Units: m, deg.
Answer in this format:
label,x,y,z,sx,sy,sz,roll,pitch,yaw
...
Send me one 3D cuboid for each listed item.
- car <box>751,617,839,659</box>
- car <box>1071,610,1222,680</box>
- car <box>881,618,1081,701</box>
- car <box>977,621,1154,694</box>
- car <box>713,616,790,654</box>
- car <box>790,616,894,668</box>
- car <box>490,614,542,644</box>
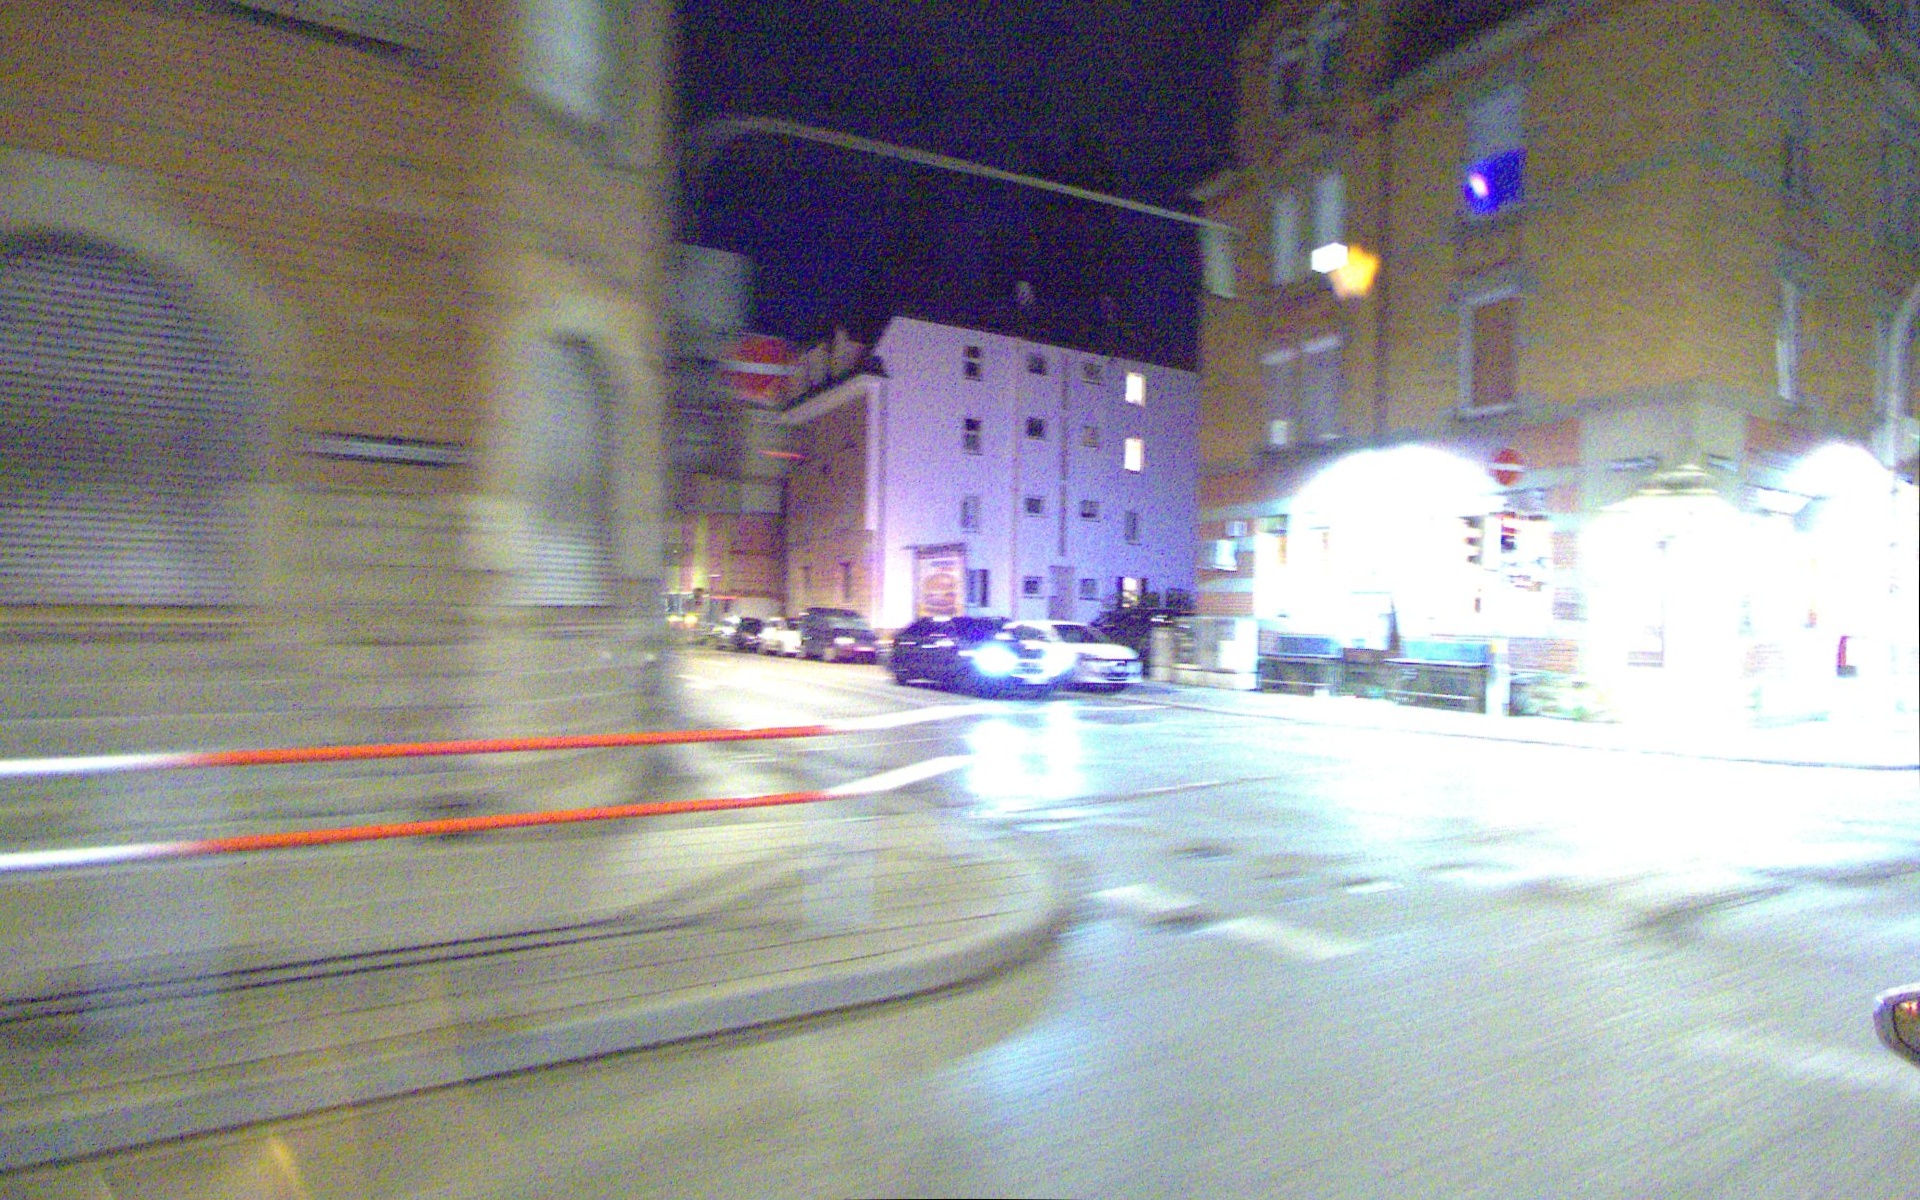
label,x,y,z,sx,sy,sz,roll,pitch,yaw
car,-6.318,1.418,38.086,1.976,1.482,4.156,1,-1,-30
car,4.648,1.101,25.397,1.686,1.615,3.582,3,-2,-35
car,0.270,1.094,19.986,1.894,1.436,4.604,1,-1,-29
car,2.211,1.193,22.243,1.780,1.421,4.256,1,-1,-29
car,-8.730,1.441,41.801,1.976,1.482,4.156,1,-1,-30
car,-4.017,1.356,33.594,1.976,1.620,4.256,1,-1,-30
car,-21.839,1.421,49.357,1.852,1.398,3.967,1,-1,-31
